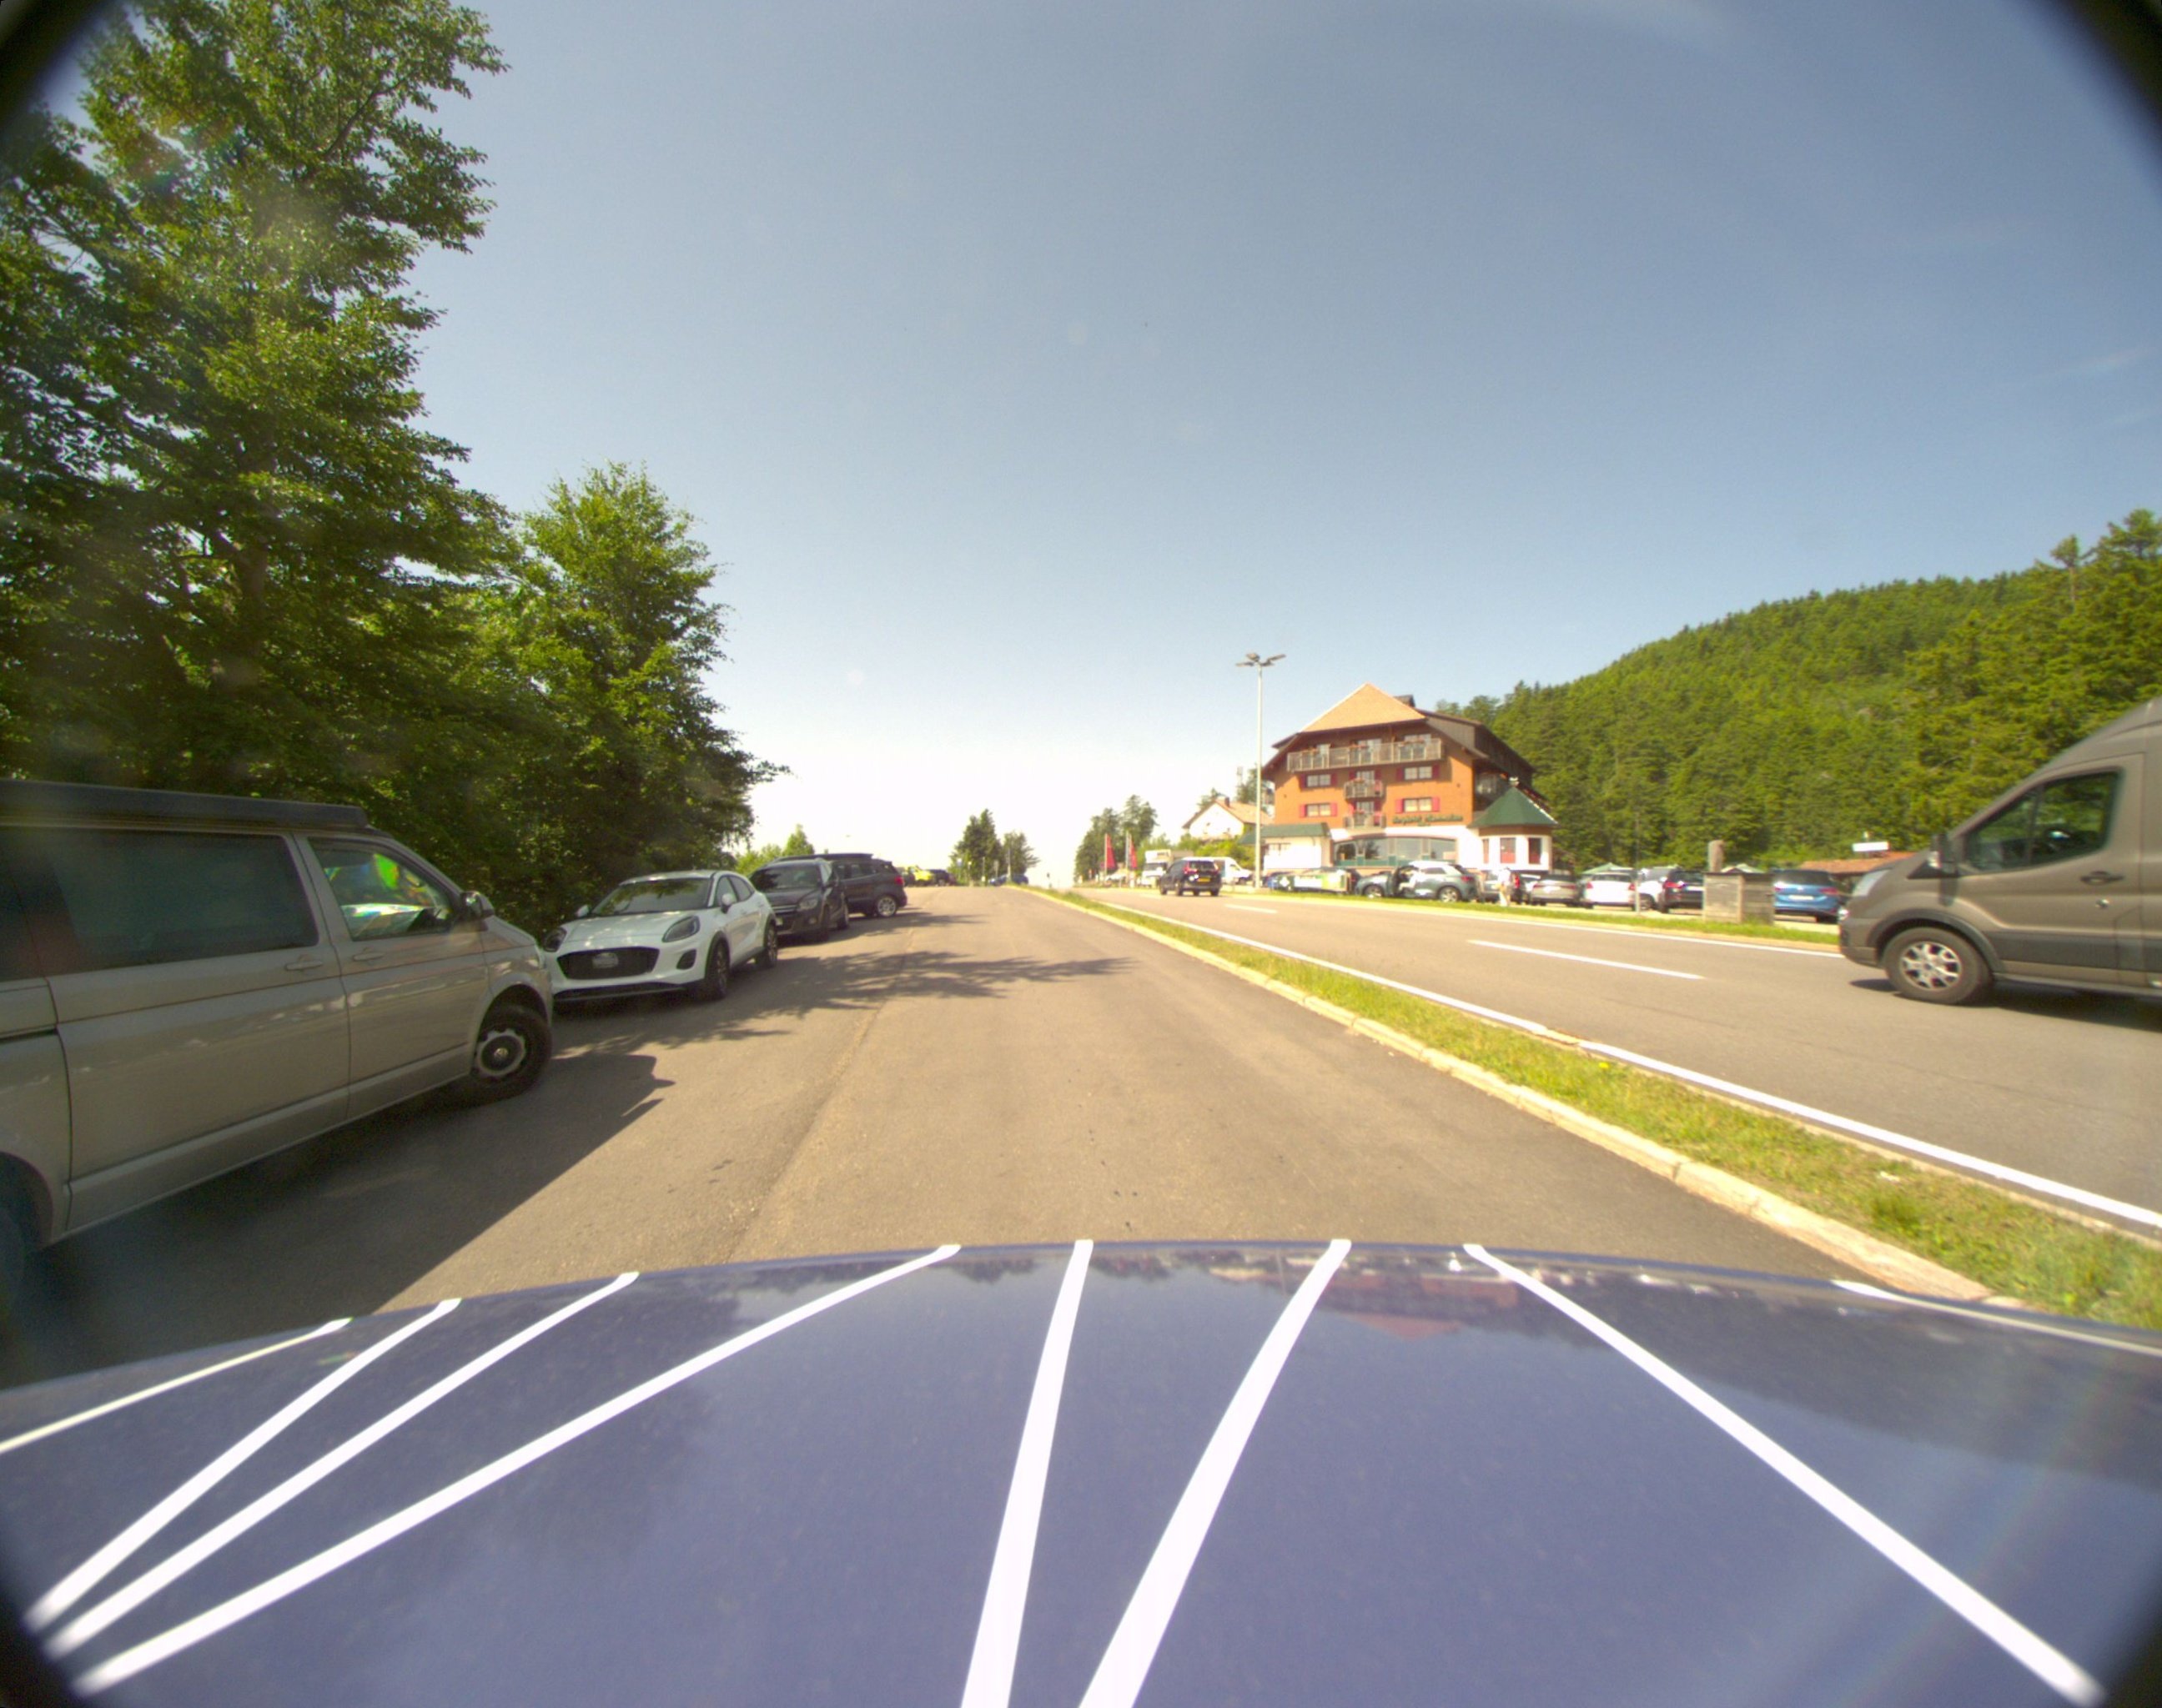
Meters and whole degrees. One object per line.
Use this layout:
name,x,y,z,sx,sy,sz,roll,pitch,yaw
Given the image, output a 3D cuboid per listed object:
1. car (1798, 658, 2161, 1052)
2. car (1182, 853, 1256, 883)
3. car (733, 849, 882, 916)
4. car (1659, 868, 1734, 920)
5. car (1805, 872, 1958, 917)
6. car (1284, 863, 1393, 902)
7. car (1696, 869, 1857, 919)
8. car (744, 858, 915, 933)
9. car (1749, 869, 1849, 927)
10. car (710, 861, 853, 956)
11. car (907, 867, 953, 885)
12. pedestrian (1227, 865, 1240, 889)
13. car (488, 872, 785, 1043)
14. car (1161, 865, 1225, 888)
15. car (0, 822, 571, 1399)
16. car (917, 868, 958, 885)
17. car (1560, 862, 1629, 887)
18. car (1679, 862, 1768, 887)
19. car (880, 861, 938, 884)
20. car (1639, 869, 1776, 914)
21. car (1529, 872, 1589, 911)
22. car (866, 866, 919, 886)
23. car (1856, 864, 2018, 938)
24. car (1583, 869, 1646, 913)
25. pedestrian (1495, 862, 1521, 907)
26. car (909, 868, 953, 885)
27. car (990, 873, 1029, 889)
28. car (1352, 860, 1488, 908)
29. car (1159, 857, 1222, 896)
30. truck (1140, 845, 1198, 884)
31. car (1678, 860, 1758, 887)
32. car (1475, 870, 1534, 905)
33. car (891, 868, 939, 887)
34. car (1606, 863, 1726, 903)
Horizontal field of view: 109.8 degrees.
car,8.579,0.007,4.853,2.017,2.735,5.914,0,0,-6
car,13.475,1.359,74.225,6.954,2.774,2.669,0,0,10
car,-9.297,0.924,25.870,4.466,1.914,1.872,-3,0,-28
car,21.068,1.304,26.136,1.819,1.619,4.104,1,0,37
car,33.550,1.644,32.020,4.083,1.705,1.924,0,0,32
car,11.545,1.238,34.151,4.259,1.619,1.828,0,0,34
car,25.009,1.385,27.549,4.083,1.619,1.828,0,0,34
car,-6.716,1.036,20.314,4.005,1.609,1.872,-3,0,-28
car,22.249,1.292,23.697,1.819,1.619,4.104,1,0,37
car,-6.066,1.010,15.893,1.876,1.609,3.997,-3,0,-9
car,-13.781,1.991,69.491,3.912,1.605,1.875,0,0,-6
pedestrian,12.072,1.835,60.012,0.753,1.853,0.672,0,0,-42
car,-5.261,1.083,9.702,1.876,1.538,3.997,-3,0,-9
car,7.986,1.583,54.250,4.083,1.518,1.828,0,0,30
car,-4.668,0.913,3.414,1.862,1.924,4.607,-4,0,-5
car,-14.324,2.264,76.138,3.912,1.605,1.875,0,0,-6
car,37.709,1.504,55.816,4.083,1.705,1.925,0,0,35
car,46.804,1.462,55.500,4.832,1.705,1.925,0,0,35
car,-14.290,1.535,63.302,4.459,1.914,1.875,0,0,-6
car,25.125,1.455,30.678,4.083,1.619,1.828,0,0,34
car,20.447,1.540,32.427,1.819,1.504,4.104,1,0,37
car,-14.953,1.745,60.461,3.912,1.605,1.875,0,0,-6
car,22.209,1.127,19.929,1.915,1.705,4.104,1,0,35
car,20.401,1.357,28.981,1.819,1.504,4.104,1,0,37
pedestrian,15.761,1.116,28.063,0.744,1.615,0.684,0,0,21
car,-14.171,2.114,72.069,3.912,1.605,1.875,0,0,-6
car,-7.461,2.792,79.600,3.913,1.605,1.875,0,0,-10
car,12.345,1.040,27.776,4.259,1.619,1.828,0,0,34
car,4.910,0.961,34.471,1.722,1.672,4.127,0,0,-8
truck,9.500,1.117,80.998,2.877,3.798,9.035,-2,-1,29
car,43.941,1.312,52.524,4.083,1.705,1.925,0,0,35
car,19.633,1.502,35.115,1.819,1.504,4.104,1,0,37
car,-14.513,2.047,66.518,3.912,1.605,1.875,0,0,-6
car,25.759,1.231,33.666,4.083,1.619,1.828,0,0,34
